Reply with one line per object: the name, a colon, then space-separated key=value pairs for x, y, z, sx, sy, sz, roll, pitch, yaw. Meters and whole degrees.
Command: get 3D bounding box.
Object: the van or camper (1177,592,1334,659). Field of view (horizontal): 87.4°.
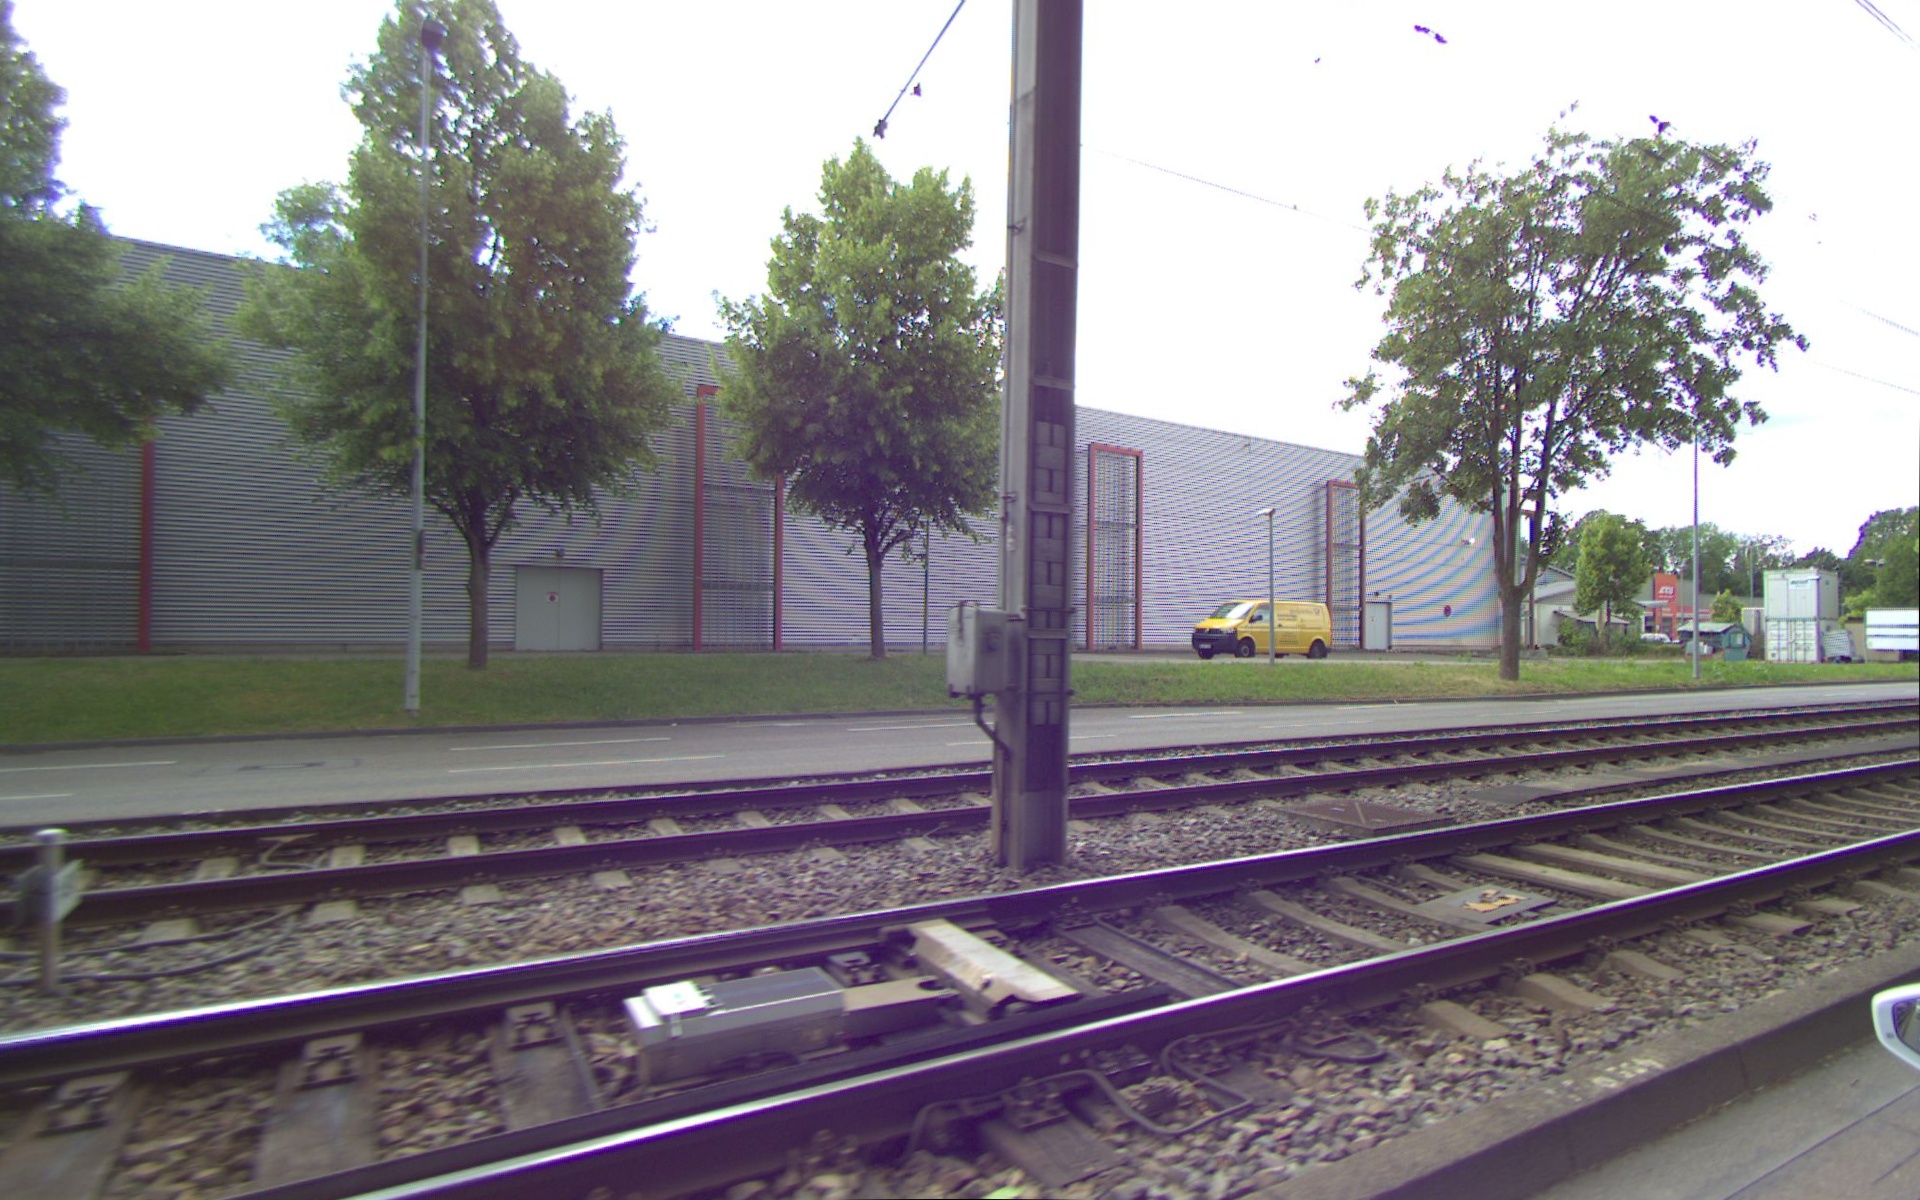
van or camper: x=9.741 y=0.866 z=32.935 sx=5.187 sy=2.040 sz=2.091 roll=2 pitch=-2 yaw=-33
